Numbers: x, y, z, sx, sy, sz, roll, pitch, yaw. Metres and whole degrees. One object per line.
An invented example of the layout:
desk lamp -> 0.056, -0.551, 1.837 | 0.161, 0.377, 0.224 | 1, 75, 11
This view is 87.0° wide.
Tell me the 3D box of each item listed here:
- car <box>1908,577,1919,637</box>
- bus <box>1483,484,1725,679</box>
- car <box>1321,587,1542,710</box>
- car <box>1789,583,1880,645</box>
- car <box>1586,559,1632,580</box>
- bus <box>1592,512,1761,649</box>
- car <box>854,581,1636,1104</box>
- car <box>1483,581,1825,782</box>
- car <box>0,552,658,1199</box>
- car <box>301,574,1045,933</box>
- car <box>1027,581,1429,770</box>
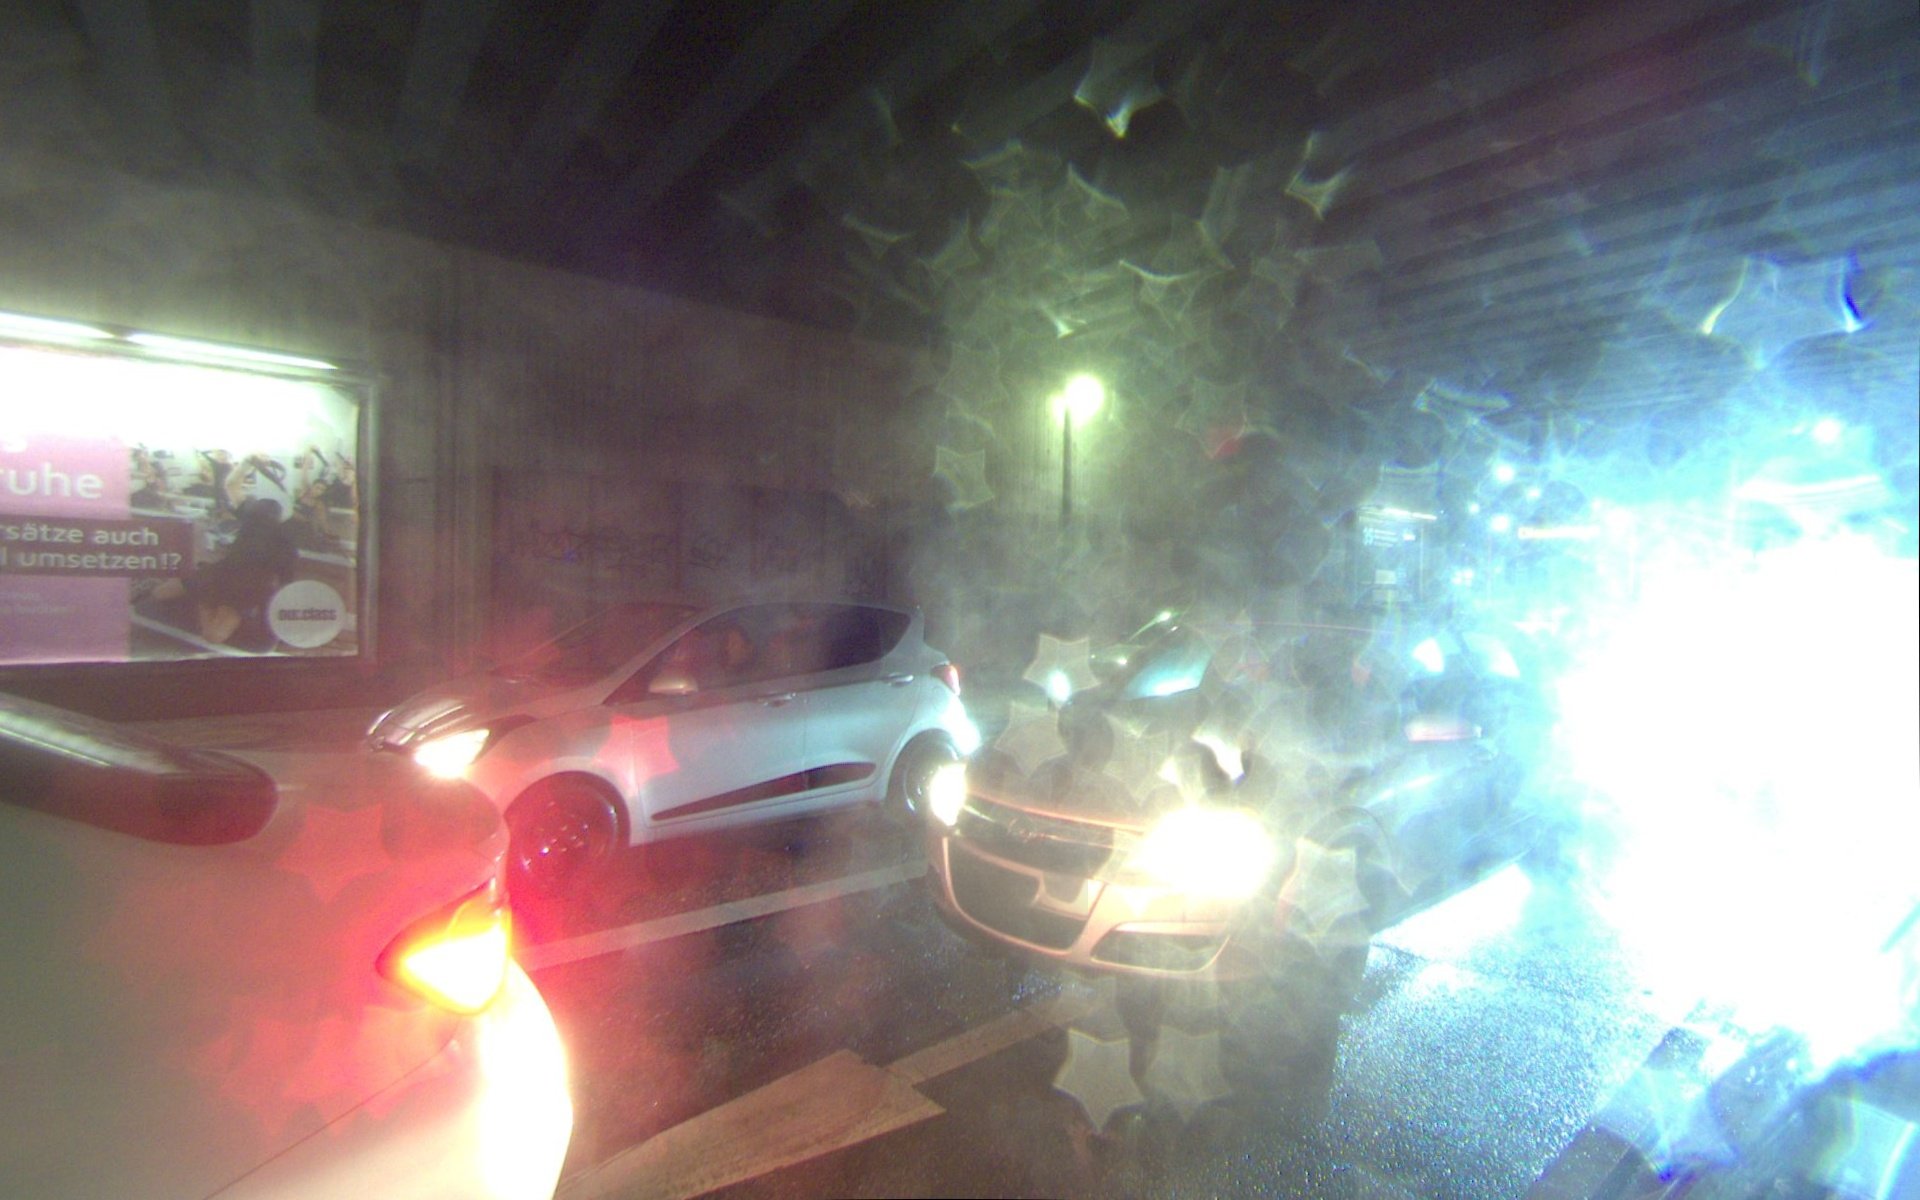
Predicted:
car -> 29.718, 0.207, 30.378 | 1.719, 1.725, 3.913 | 3, 3, 43
bus -> 14.063, -0.405, 21.614 | 2.733, 3.318, 9.551 | 1, 1, 43
car -> 7.139, 0.602, 15.125 | 1.721, 1.505, 4.096 | 3, 3, 44
car -> 23.431, 0.308, 27.090 | 1.693, 1.481, 3.913 | 3, 3, 42
car -> 46.331, -2.148, 72.318 | 1.685, 1.407, 3.979 | 0, 1, 17
bus -> 20.493, -0.556, 28.642 | 2.733, 3.278, 9.551 | 1, 1, 43
car -> 1.649, 0.652, 4.875 | 4.091, 1.464, 1.723 | -1, 1, -42
car -> 6.717, 0.619, 9.622 | 4.091, 1.506, 1.722 | -1, -2, -42
car -> -2.700, 0.670, 0.971 | 4.308, 1.464, 1.723 | -1, 3, -42
car -> -1.512, 0.606, 6.249 | 4.091, 1.464, 1.723 | -1, 3, -42
car -> 2.945, 0.579, 10.431 | 4.705, 1.505, 1.723 | -1, 2, -42
